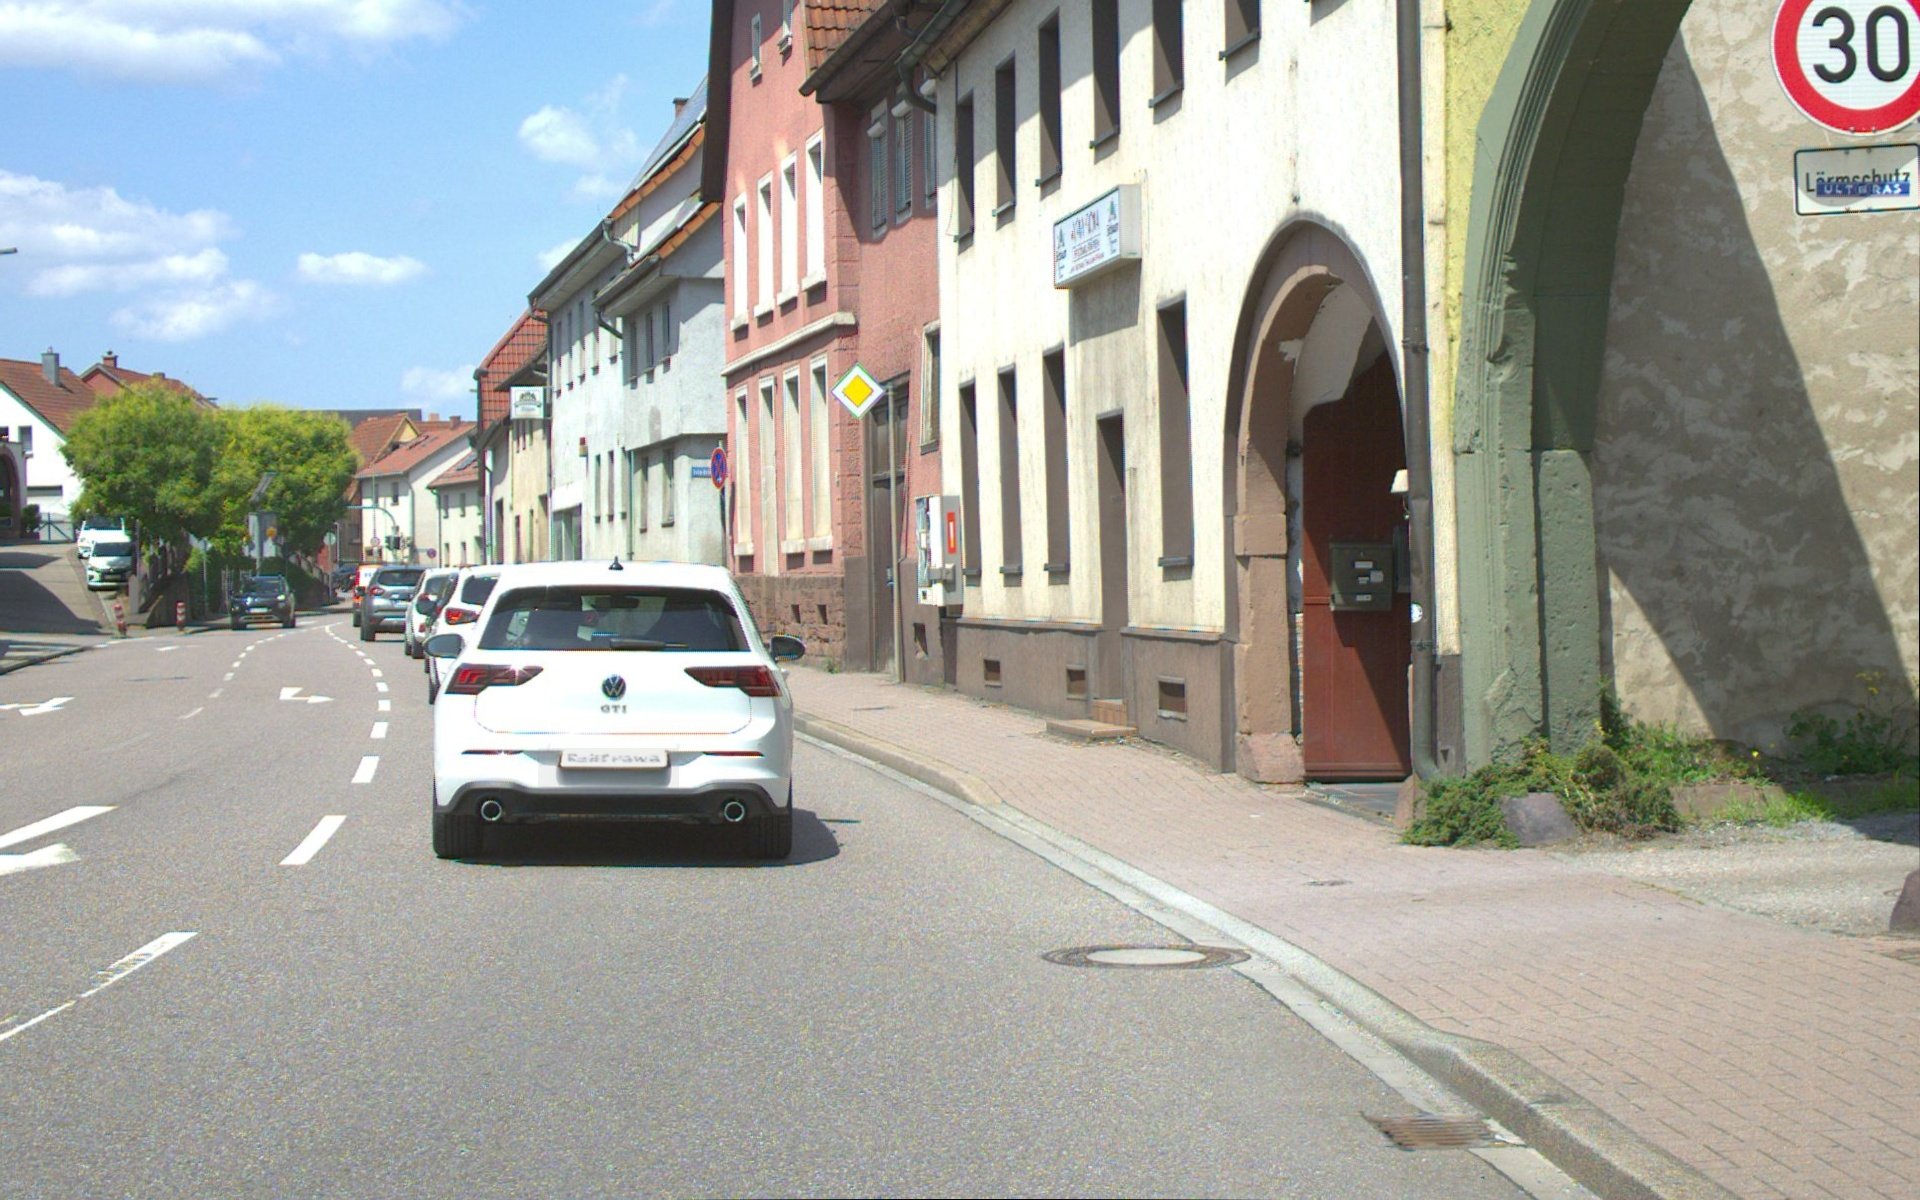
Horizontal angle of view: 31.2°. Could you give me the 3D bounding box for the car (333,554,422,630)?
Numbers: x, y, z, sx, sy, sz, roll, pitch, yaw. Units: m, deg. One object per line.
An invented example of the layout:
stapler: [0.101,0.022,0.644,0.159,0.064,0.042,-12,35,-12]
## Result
car: [-12.204,-0.189,72.105,1.775,1.533,4.001,-1,1,-9]

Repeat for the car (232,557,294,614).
car: [-21.111,-0.452,104.202,1.669,1.652,4.019,-1,1,-9]

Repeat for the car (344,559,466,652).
car: [-9.299,0.087,57.392,1.807,1.462,4.001,1,0,-12]

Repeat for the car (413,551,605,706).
car: [-4.581,0.273,35.006,1.807,1.462,4.001,1,0,-7]

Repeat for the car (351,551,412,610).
car: [-17.814,-0.608,105.764,1.775,1.759,4.001,-1,1,-10]

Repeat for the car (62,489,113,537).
car: [-30.573,-3.057,120.534,1.576,1.357,3.858,-1,6,-12]

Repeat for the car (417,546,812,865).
car: [-1.789,0.491,17.992,1.807,1.462,4.001,1,0,-5]

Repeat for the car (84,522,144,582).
car: [-26.950,-1.556,109.565,1.693,1.537,3.858,-1,6,-12]
